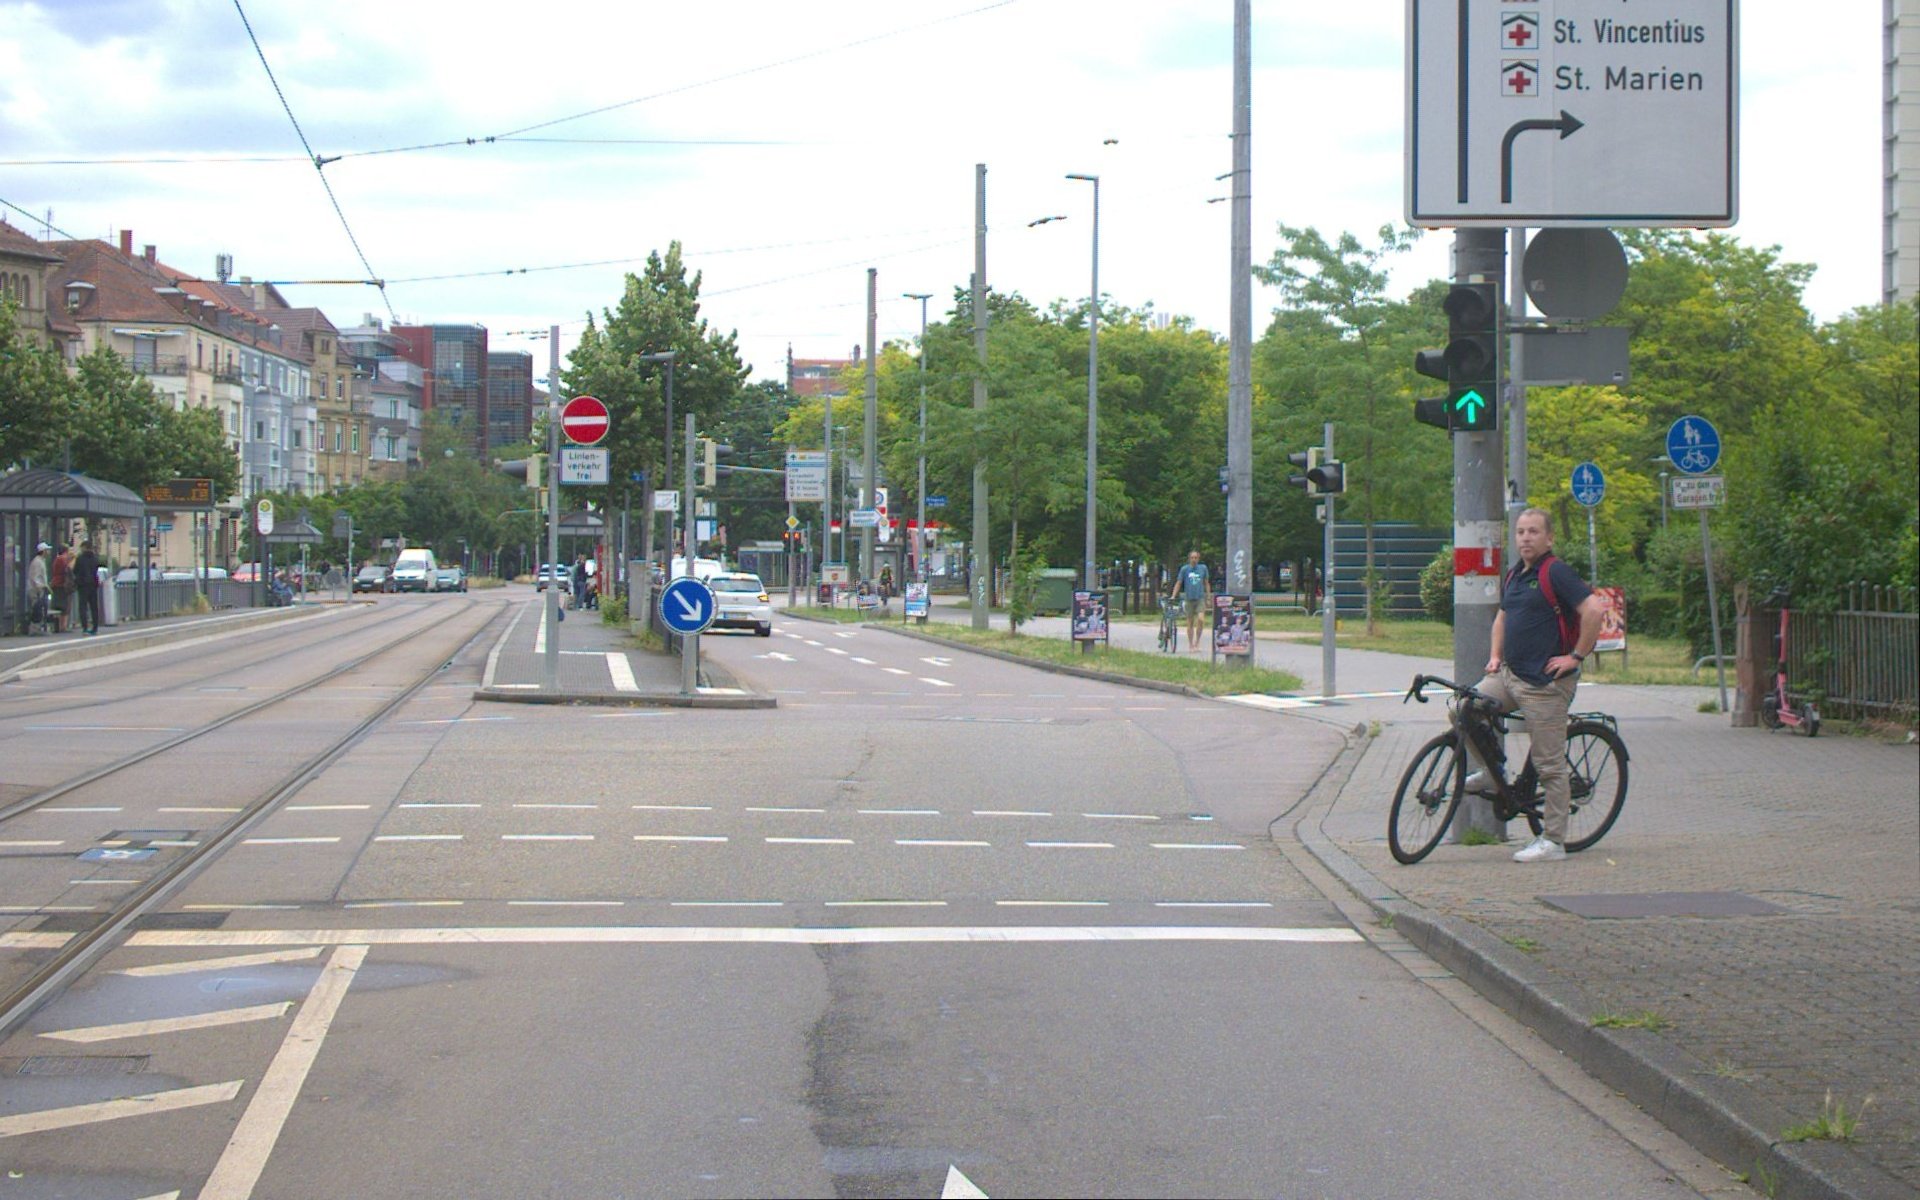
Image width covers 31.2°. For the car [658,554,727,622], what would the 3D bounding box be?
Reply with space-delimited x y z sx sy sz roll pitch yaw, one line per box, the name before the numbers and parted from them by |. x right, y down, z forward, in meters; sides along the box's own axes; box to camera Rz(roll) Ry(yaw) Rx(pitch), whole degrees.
car | -7.889 -0.364 101.145 1.782 1.956 4.383 0 1 -7

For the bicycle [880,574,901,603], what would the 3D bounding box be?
bicycle | -2.802 -0.452 138.455 0.679 1.151 1.898 0 1 4

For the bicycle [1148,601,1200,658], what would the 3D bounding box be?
bicycle | 3.907 0.536 62.826 0.654 0.999 1.779 0 0 -6

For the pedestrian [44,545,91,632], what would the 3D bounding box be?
pedestrian | -17.142 -0.225 66.025 0.768 1.654 1.025 0 0 -9

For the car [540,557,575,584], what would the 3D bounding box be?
car | -22.389 -1.615 191.233 1.770 1.488 3.887 0 0 -5

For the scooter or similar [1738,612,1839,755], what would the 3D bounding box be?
scooter or similar | 6.839 0.677 28.418 0.376 1.137 1.200 0 0 -9

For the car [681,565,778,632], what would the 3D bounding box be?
car | -5.354 -0.054 79.430 1.782 1.467 4.011 0 1 -10

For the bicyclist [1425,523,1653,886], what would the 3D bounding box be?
bicyclist | 2.941 0.509 17.491 0.680 1.789 0.891 0 1 -38

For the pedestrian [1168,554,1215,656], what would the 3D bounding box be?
pedestrian | 4.227 0.084 62.912 0.739 1.863 0.682 0 0 -7

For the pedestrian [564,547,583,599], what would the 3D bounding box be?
pedestrian | -11.628 -0.805 103.492 0.532 1.552 0.571 0 0 -3

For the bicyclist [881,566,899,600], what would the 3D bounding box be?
bicyclist | -2.816 -0.699 138.460 0.679 1.375 0.727 0 1 4

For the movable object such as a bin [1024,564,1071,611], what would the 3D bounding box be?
movable object such as a bin | 2.641 -0.375 103.552 1.282 1.385 1.159 0 0 -6

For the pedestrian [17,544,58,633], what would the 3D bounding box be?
pedestrian | -16.875 -0.213 62.864 0.632 1.618 0.680 0 0 -7

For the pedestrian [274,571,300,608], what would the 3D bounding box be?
pedestrian | -23.269 -0.360 118.852 0.864 1.262 0.694 0 1 -9

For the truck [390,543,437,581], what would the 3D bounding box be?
truck | -30.309 -2.103 190.775 1.788 2.026 5.396 0 0 0

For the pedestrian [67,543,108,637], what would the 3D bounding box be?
pedestrian | -15.898 -0.181 62.640 0.699 1.709 0.699 0 0 -15

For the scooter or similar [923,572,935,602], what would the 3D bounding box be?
scooter or similar | -1.169 -0.496 129.520 0.376 1.137 1.199 0 0 4

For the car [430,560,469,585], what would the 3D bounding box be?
car | -30.423 -1.640 204.835 1.770 1.488 3.887 0 0 0

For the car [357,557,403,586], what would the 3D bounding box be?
car | -30.306 -1.479 179.725 1.770 1.488 3.887 0 0 0

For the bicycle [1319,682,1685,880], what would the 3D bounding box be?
bicycle | 2.799 0.905 17.669 1.862 0.921 0.796 0 1 -39
